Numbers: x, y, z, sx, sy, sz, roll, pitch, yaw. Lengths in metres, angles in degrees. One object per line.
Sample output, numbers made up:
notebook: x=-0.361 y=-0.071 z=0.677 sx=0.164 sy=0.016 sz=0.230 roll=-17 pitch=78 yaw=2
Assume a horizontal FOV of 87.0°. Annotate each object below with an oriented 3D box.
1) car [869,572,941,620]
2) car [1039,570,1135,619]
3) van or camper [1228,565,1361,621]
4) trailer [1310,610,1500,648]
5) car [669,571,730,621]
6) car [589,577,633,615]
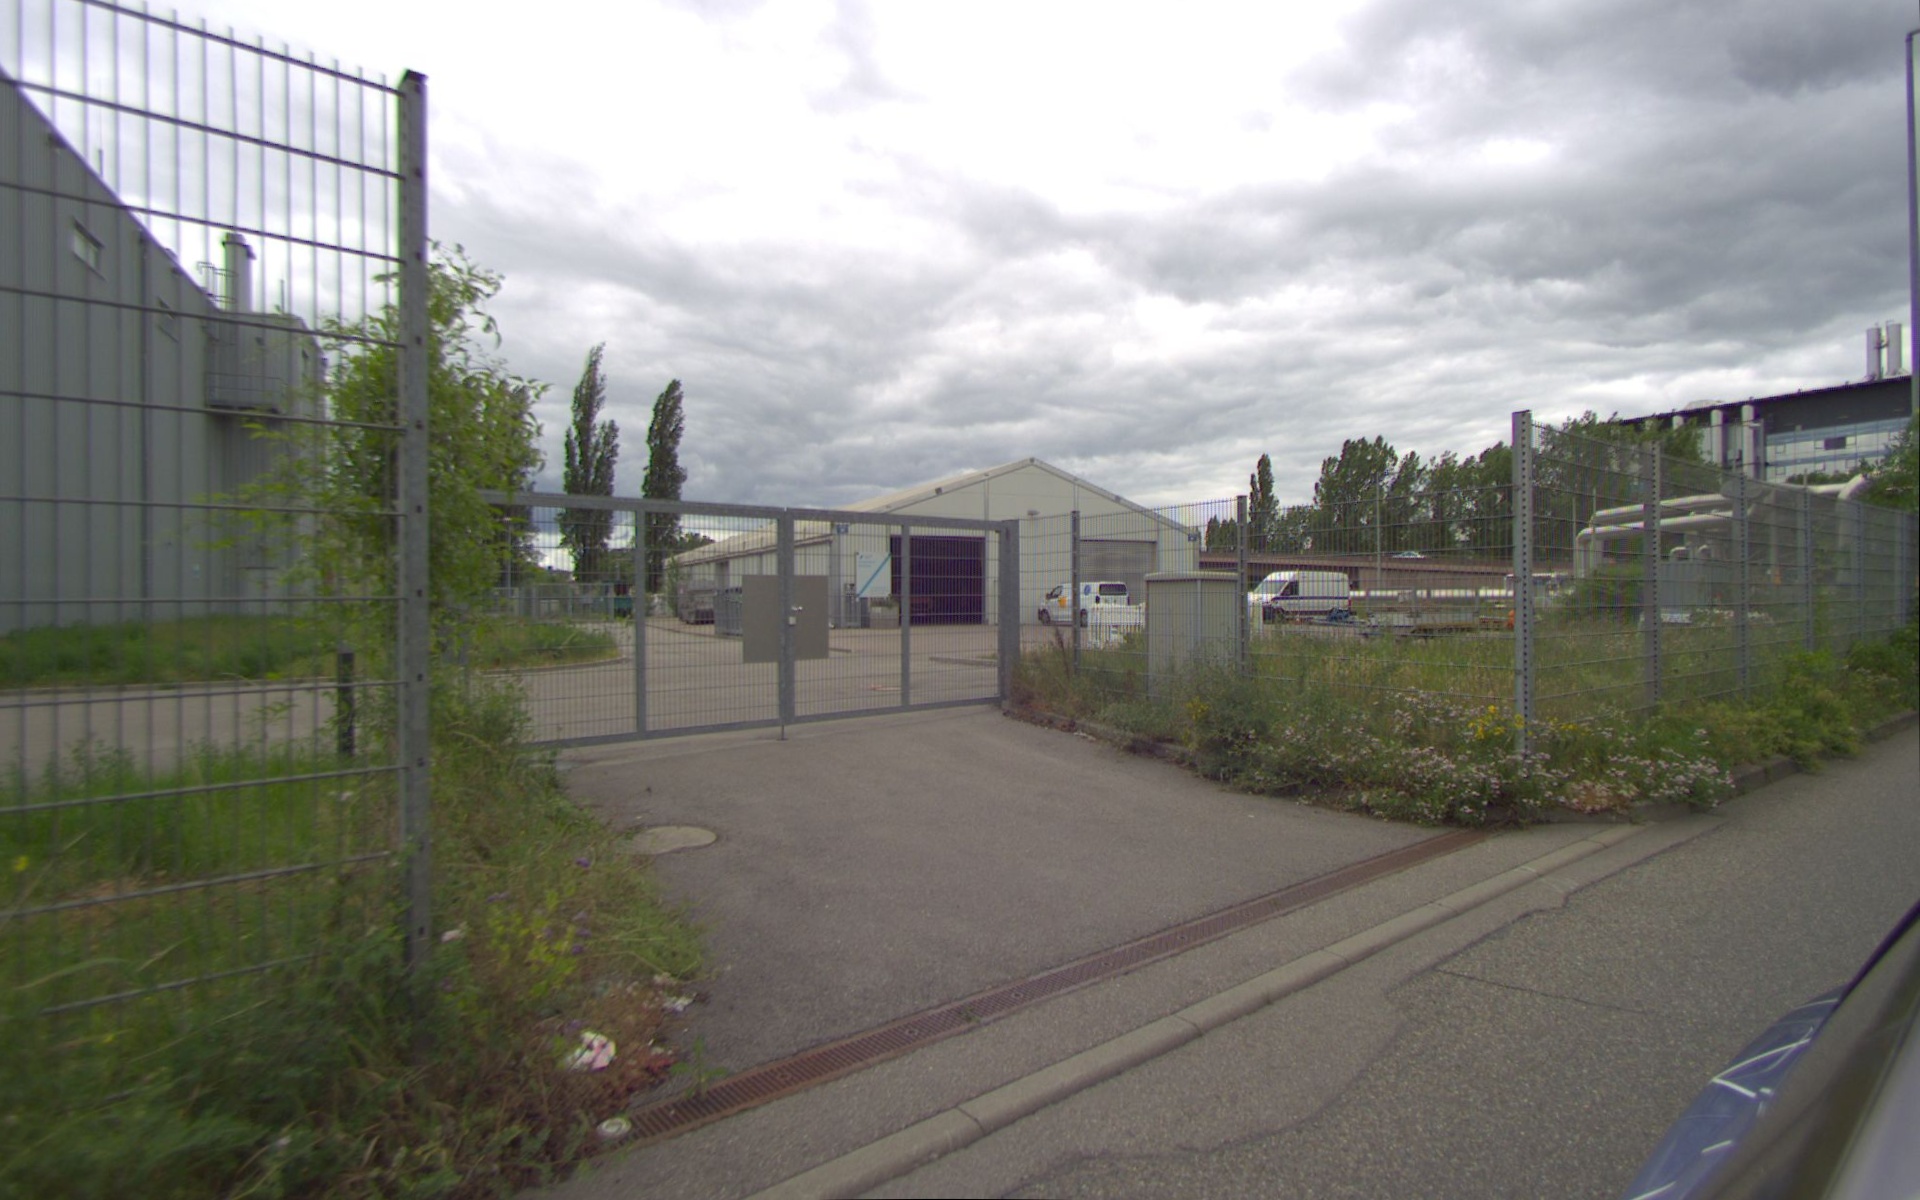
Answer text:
car: x=-2.920 y=-0.233 z=53.057 sx=2.067 sy=2.405 sz=4.438 roll=0 pitch=0 yaw=-29
car: x=5.560 y=-0.247 z=44.732 sx=1.960 sy=2.039 sz=4.343 roll=0 pitch=0 yaw=-31
van or camper: x=16.230 y=-0.363 z=49.074 sx=6.000 sy=2.580 sz=2.580 roll=0 pitch=0 yaw=-25
trailer: x=11.964 y=0.742 z=27.187 sx=4.594 sy=0.826 sz=2.309 roll=-1 pitch=1 yaw=-27
car: x=-14.692 y=-0.246 z=56.829 sx=2.367 sy=2.680 sz=5.358 roll=0 pitch=0 yaw=-25
car: x=-25.345 y=-0.293 z=73.467 sx=2.443 sy=2.680 sz=5.358 roll=0 pitch=0 yaw=-25
